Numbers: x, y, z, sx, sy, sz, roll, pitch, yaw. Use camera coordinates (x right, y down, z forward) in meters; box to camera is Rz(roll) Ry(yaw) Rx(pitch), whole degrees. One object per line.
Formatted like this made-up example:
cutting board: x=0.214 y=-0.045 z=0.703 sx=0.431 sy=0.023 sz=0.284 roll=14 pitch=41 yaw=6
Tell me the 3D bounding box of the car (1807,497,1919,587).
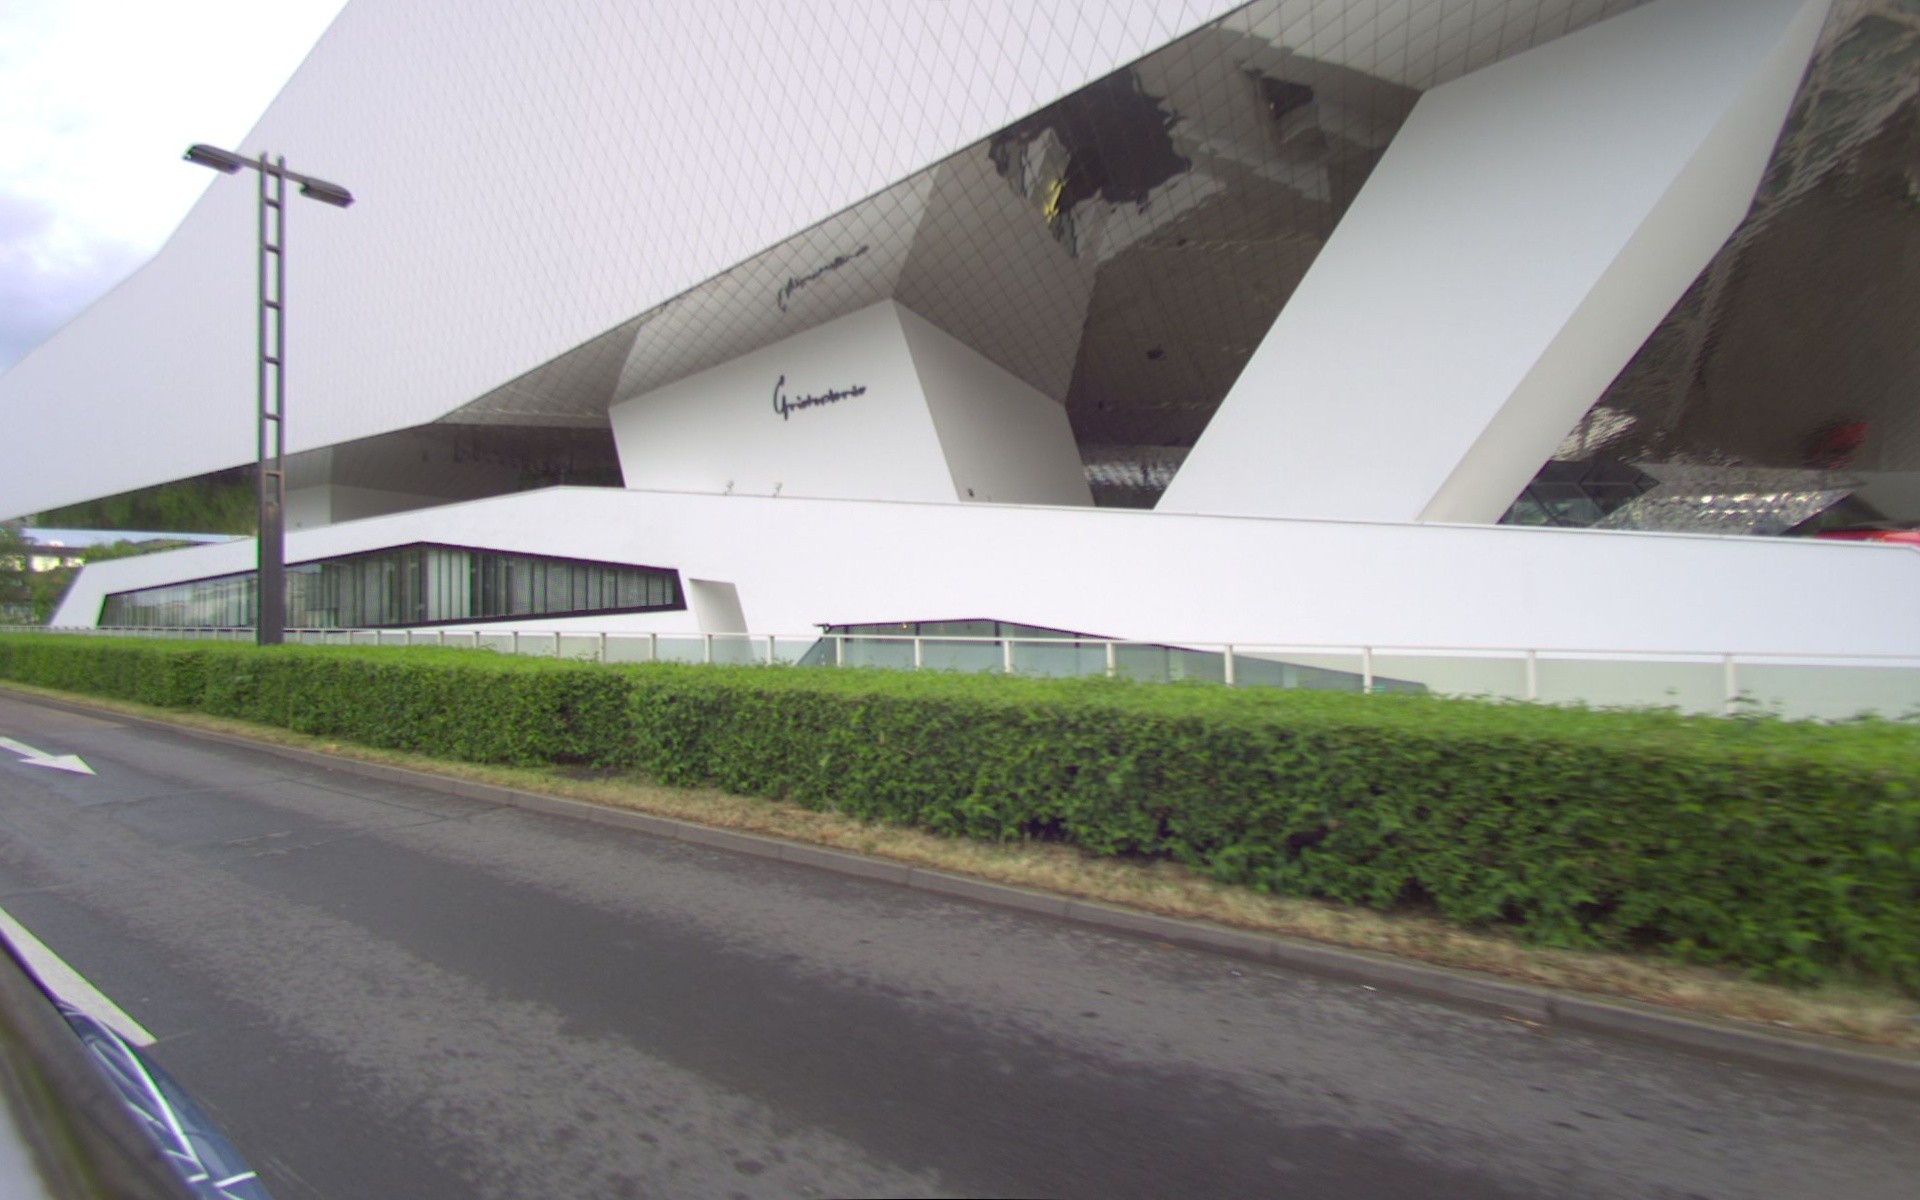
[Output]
car: x=18.652 y=-0.960 z=19.139 sx=4.038 sy=1.252 sz=1.641 roll=7 pitch=-3 yaw=-7
